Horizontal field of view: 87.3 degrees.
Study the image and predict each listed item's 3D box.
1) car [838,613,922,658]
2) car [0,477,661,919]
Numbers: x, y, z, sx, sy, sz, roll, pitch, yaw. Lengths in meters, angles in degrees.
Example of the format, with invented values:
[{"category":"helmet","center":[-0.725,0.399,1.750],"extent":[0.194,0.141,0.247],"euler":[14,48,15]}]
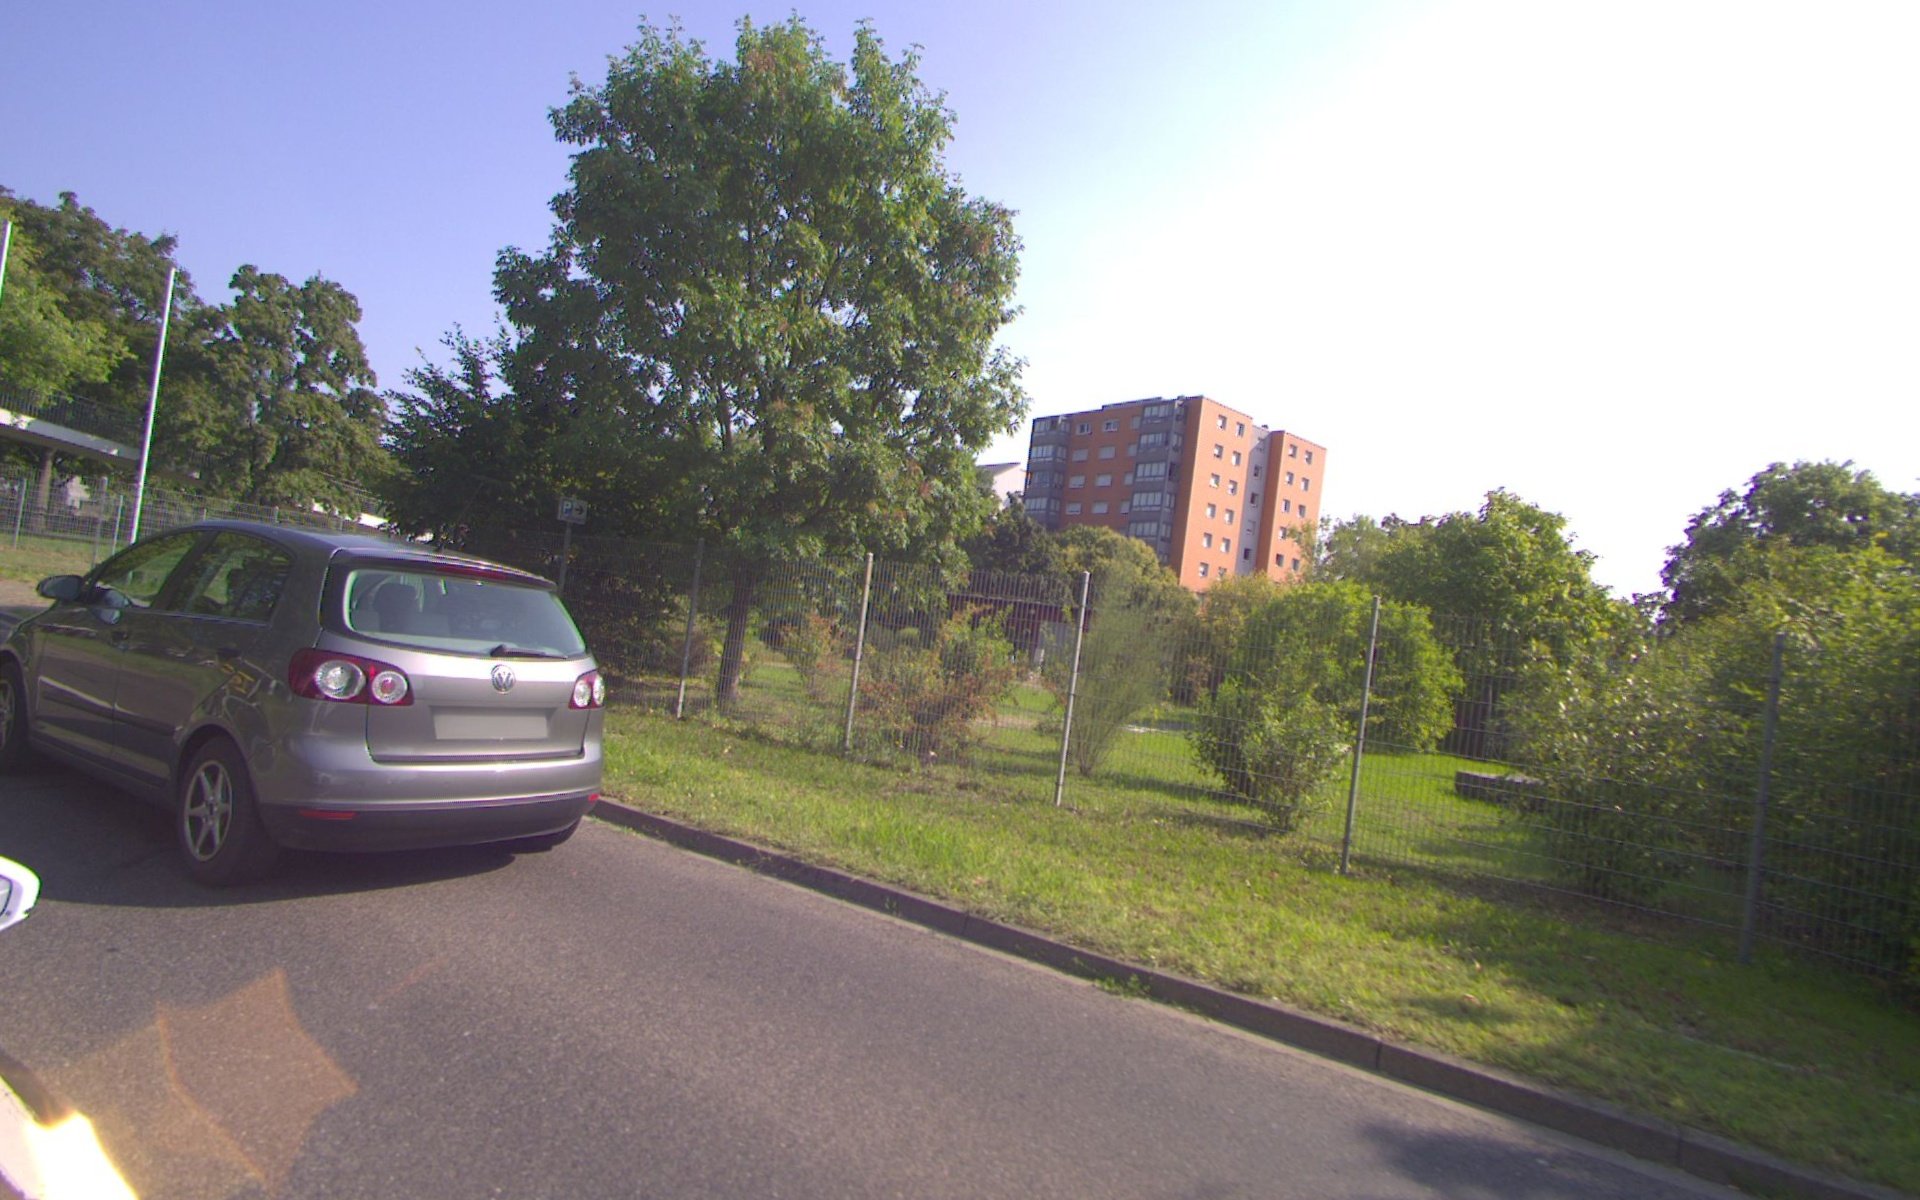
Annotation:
[{"category":"car","center":[-4.172,1.847,52.313],"extent":[3.933,1.736,1.744],"euler":[7,-2,31]},{"category":"car","center":[-3.723,0.345,5.560],"extent":[3.833,1.574,1.649],"euler":[7,-3,31]}]
